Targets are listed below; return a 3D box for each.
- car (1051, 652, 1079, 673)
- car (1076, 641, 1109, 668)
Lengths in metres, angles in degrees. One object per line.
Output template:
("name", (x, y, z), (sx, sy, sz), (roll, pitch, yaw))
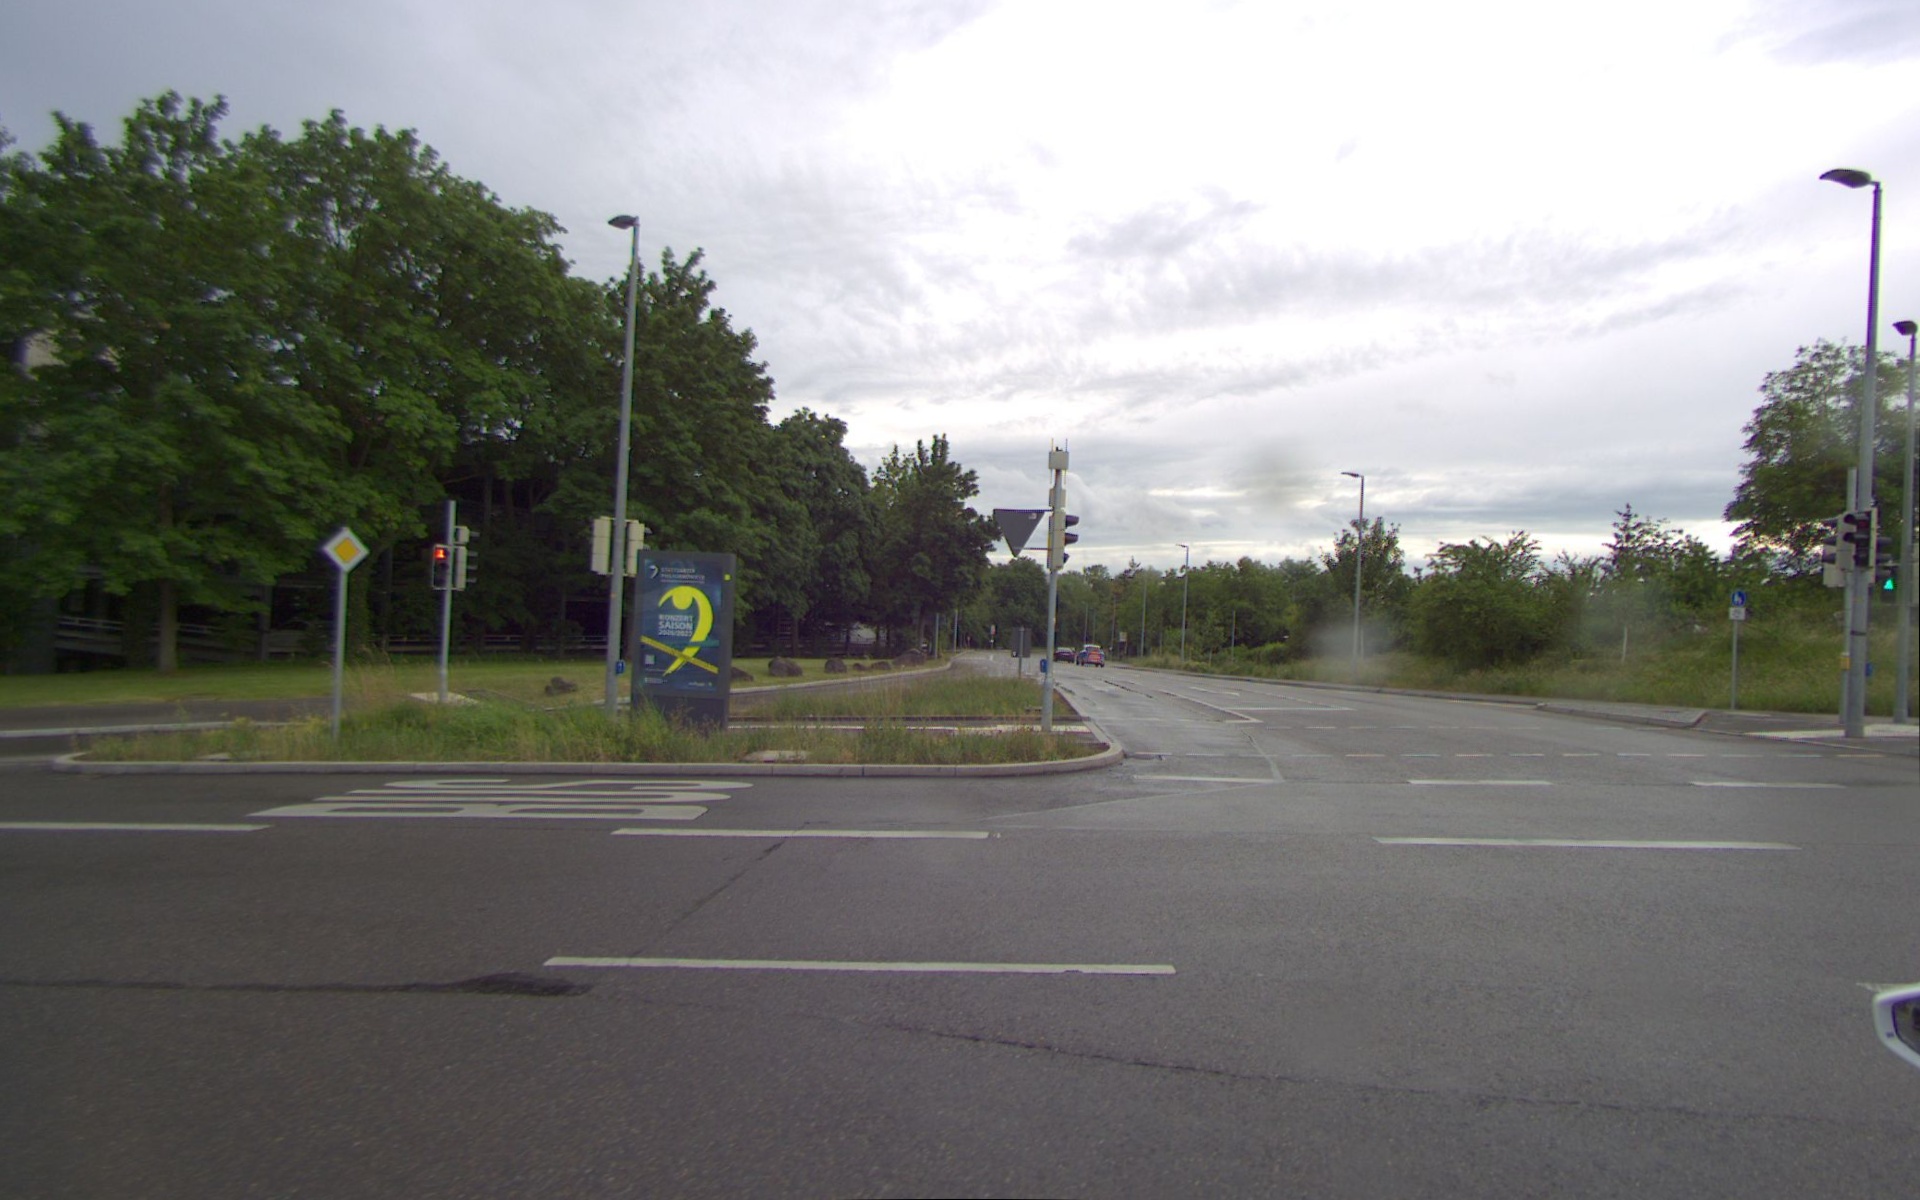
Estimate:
("car", (9.734, 5.783, 93.743), (2.130, 1.604, 4.664), (2, 0, 1))
("car", (9.855, 4.062, 75.055), (2.041, 1.741, 4.199), (2, 0, 3))
